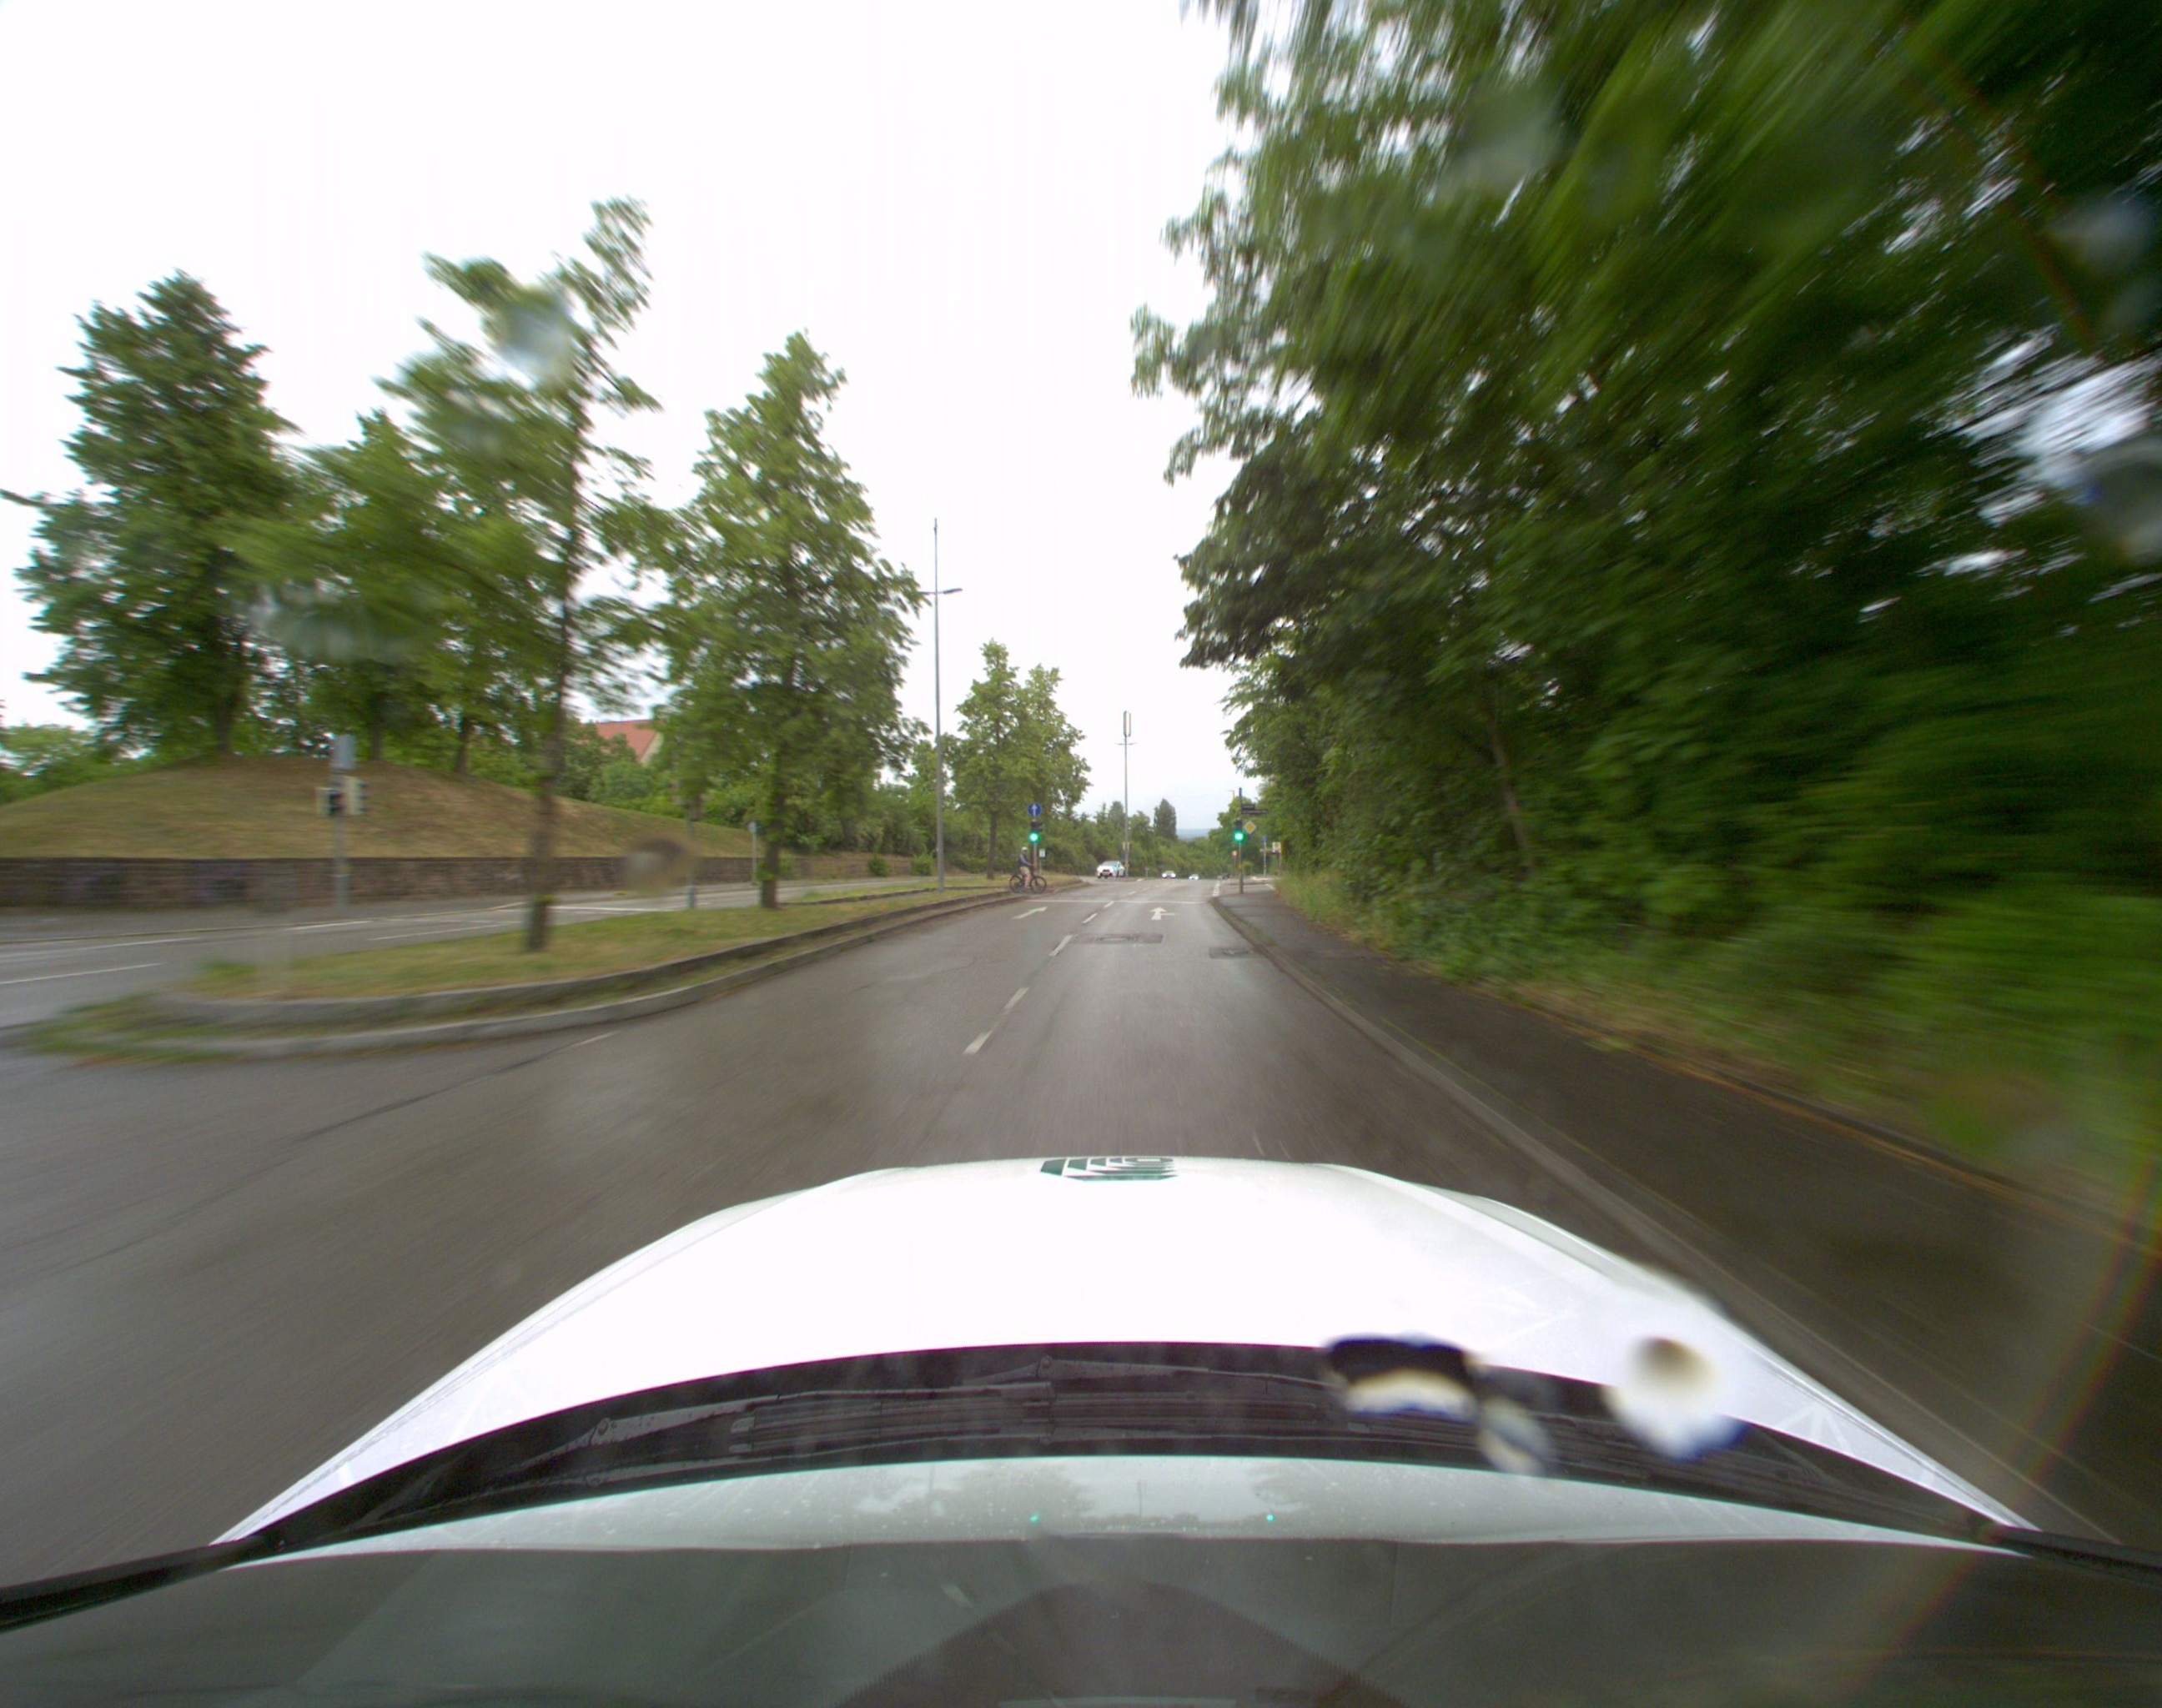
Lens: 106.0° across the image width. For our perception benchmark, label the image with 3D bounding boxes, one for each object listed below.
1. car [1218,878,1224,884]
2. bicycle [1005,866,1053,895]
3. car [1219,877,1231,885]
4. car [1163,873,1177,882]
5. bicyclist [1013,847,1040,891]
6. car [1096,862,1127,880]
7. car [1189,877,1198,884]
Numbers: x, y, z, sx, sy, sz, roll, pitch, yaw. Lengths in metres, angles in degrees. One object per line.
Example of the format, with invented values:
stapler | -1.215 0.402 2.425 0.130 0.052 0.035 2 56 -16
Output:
car | 41.008 7.930 238.861 1.714 1.566 3.904 2 -2 12
bicycle | -2.103 1.061 33.254 0.547 1.143 2.153 -1 -1 43
car | 30.114 5.649 170.131 1.930 1.591 3.945 0 -1 17
car | 14.466 3.779 131.911 1.766 1.472 4.659 0 -2 12
bicyclist | -2.237 0.615 33.292 0.716 1.752 0.806 -5 -5 43
car | 3.009 1.685 79.279 1.931 1.636 5.023 0 -2 14
car | 26.416 6.222 191.459 1.712 1.591 4.014 0 -1 13
